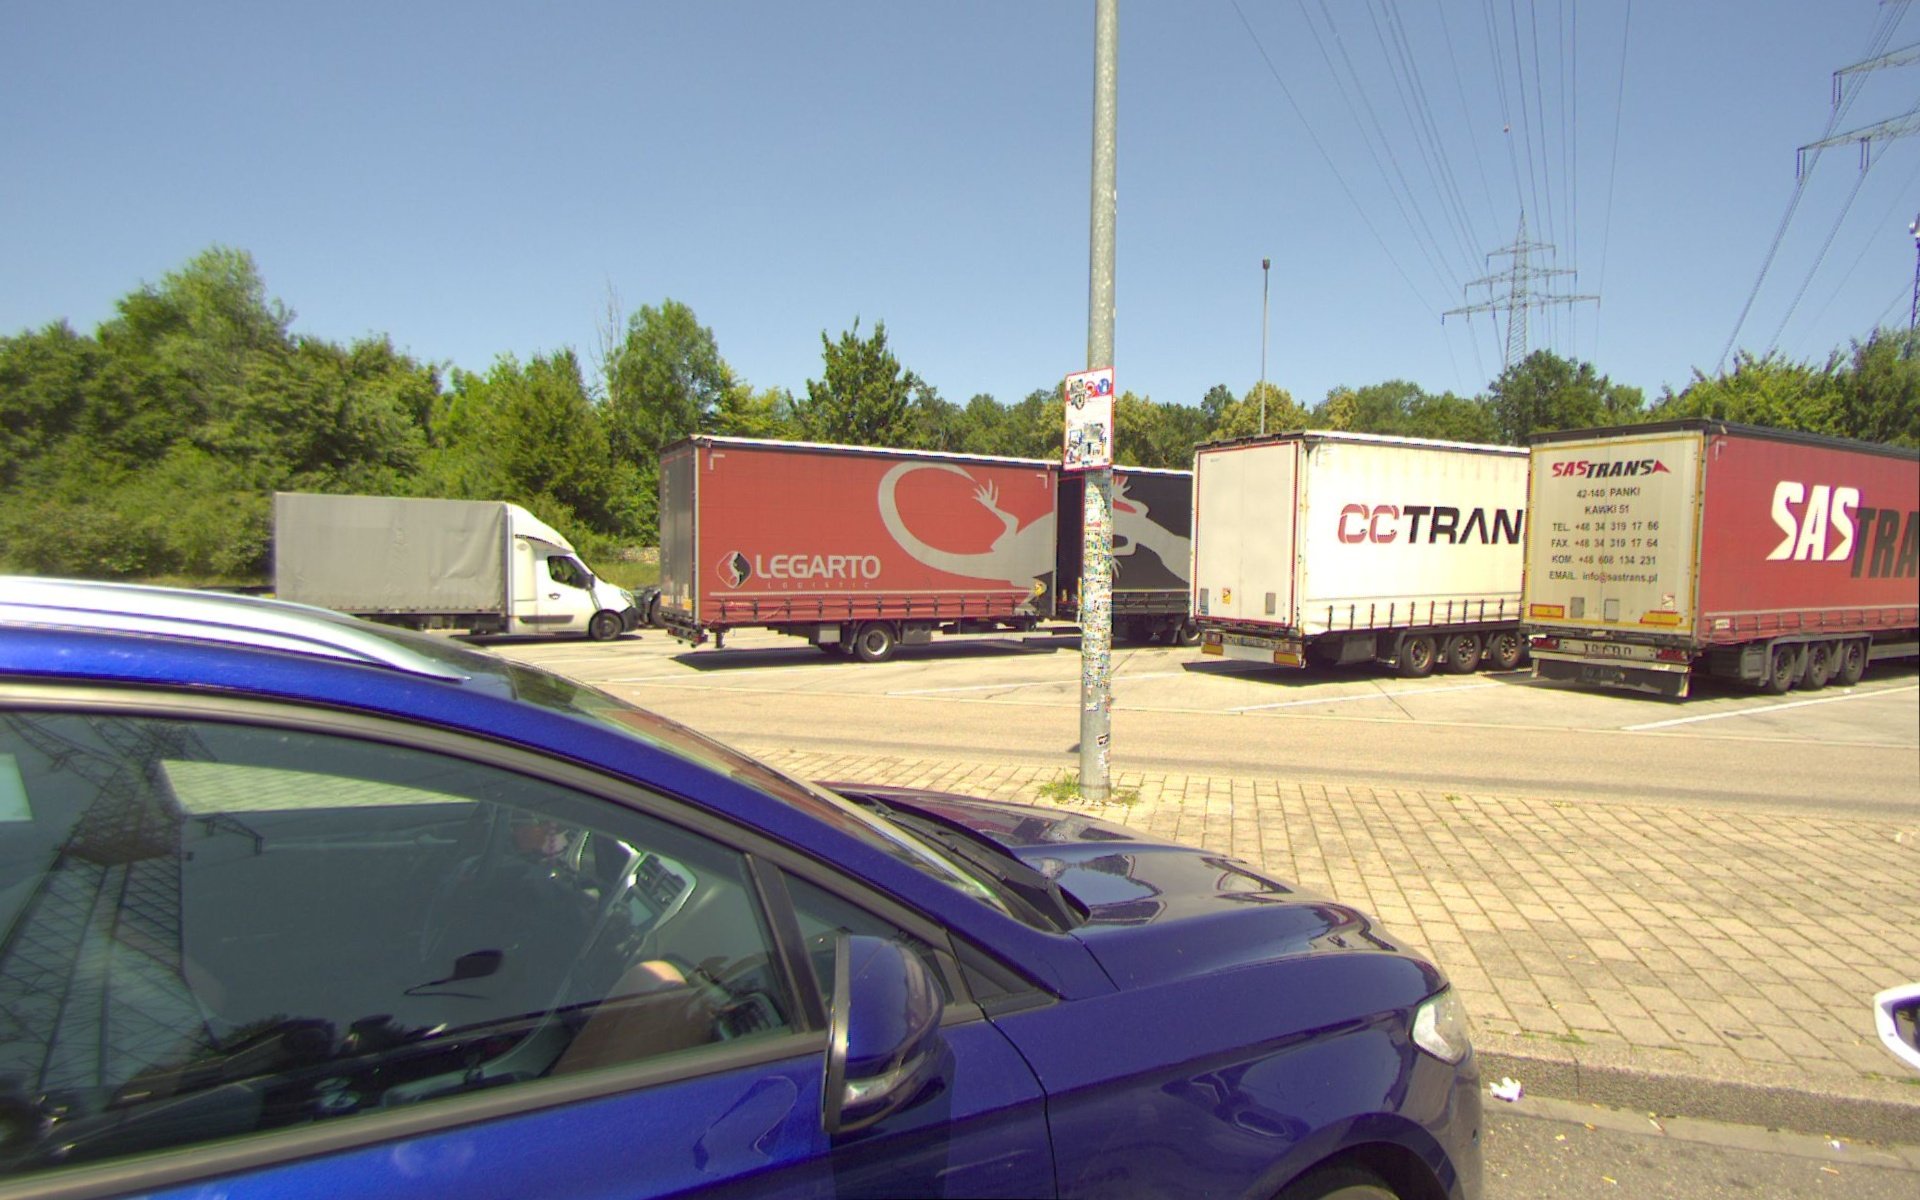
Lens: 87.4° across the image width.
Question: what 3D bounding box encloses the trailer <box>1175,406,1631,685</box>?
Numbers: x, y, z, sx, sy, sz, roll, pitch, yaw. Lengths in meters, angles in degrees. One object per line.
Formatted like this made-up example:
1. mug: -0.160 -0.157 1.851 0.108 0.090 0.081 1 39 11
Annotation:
1. trailer: 8.684 -0.829 19.098 9.614 4.321 2.733 0 1 -29

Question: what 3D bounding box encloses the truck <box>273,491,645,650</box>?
1. truck: -11.151 -0.606 22.920 7.265 3.170 2.352 0 1 -30

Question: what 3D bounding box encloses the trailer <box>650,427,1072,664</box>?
1. trailer: -1.818 -0.918 20.303 8.158 4.027 2.651 0 1 -30

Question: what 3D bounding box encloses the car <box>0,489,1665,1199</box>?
1. car: -1.040 0.654 1.457 4.419 1.485 1.765 0 1 -32

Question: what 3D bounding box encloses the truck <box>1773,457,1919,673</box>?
1. truck: 20.791 -0.673 21.761 6.749 4.136 2.729 0 1 -31

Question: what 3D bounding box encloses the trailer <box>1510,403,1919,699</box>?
1. trailer: 15.310 -0.669 18.520 13.129 4.112 2.736 0 1 -31

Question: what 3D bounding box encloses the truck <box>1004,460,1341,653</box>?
1. truck: 5.374 -0.910 24.574 8.534 4.073 2.624 0 1 -30

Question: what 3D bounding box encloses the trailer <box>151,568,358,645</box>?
1. trailer: -16.532 0.145 23.772 3.856 1.684 1.464 0 1 -30
